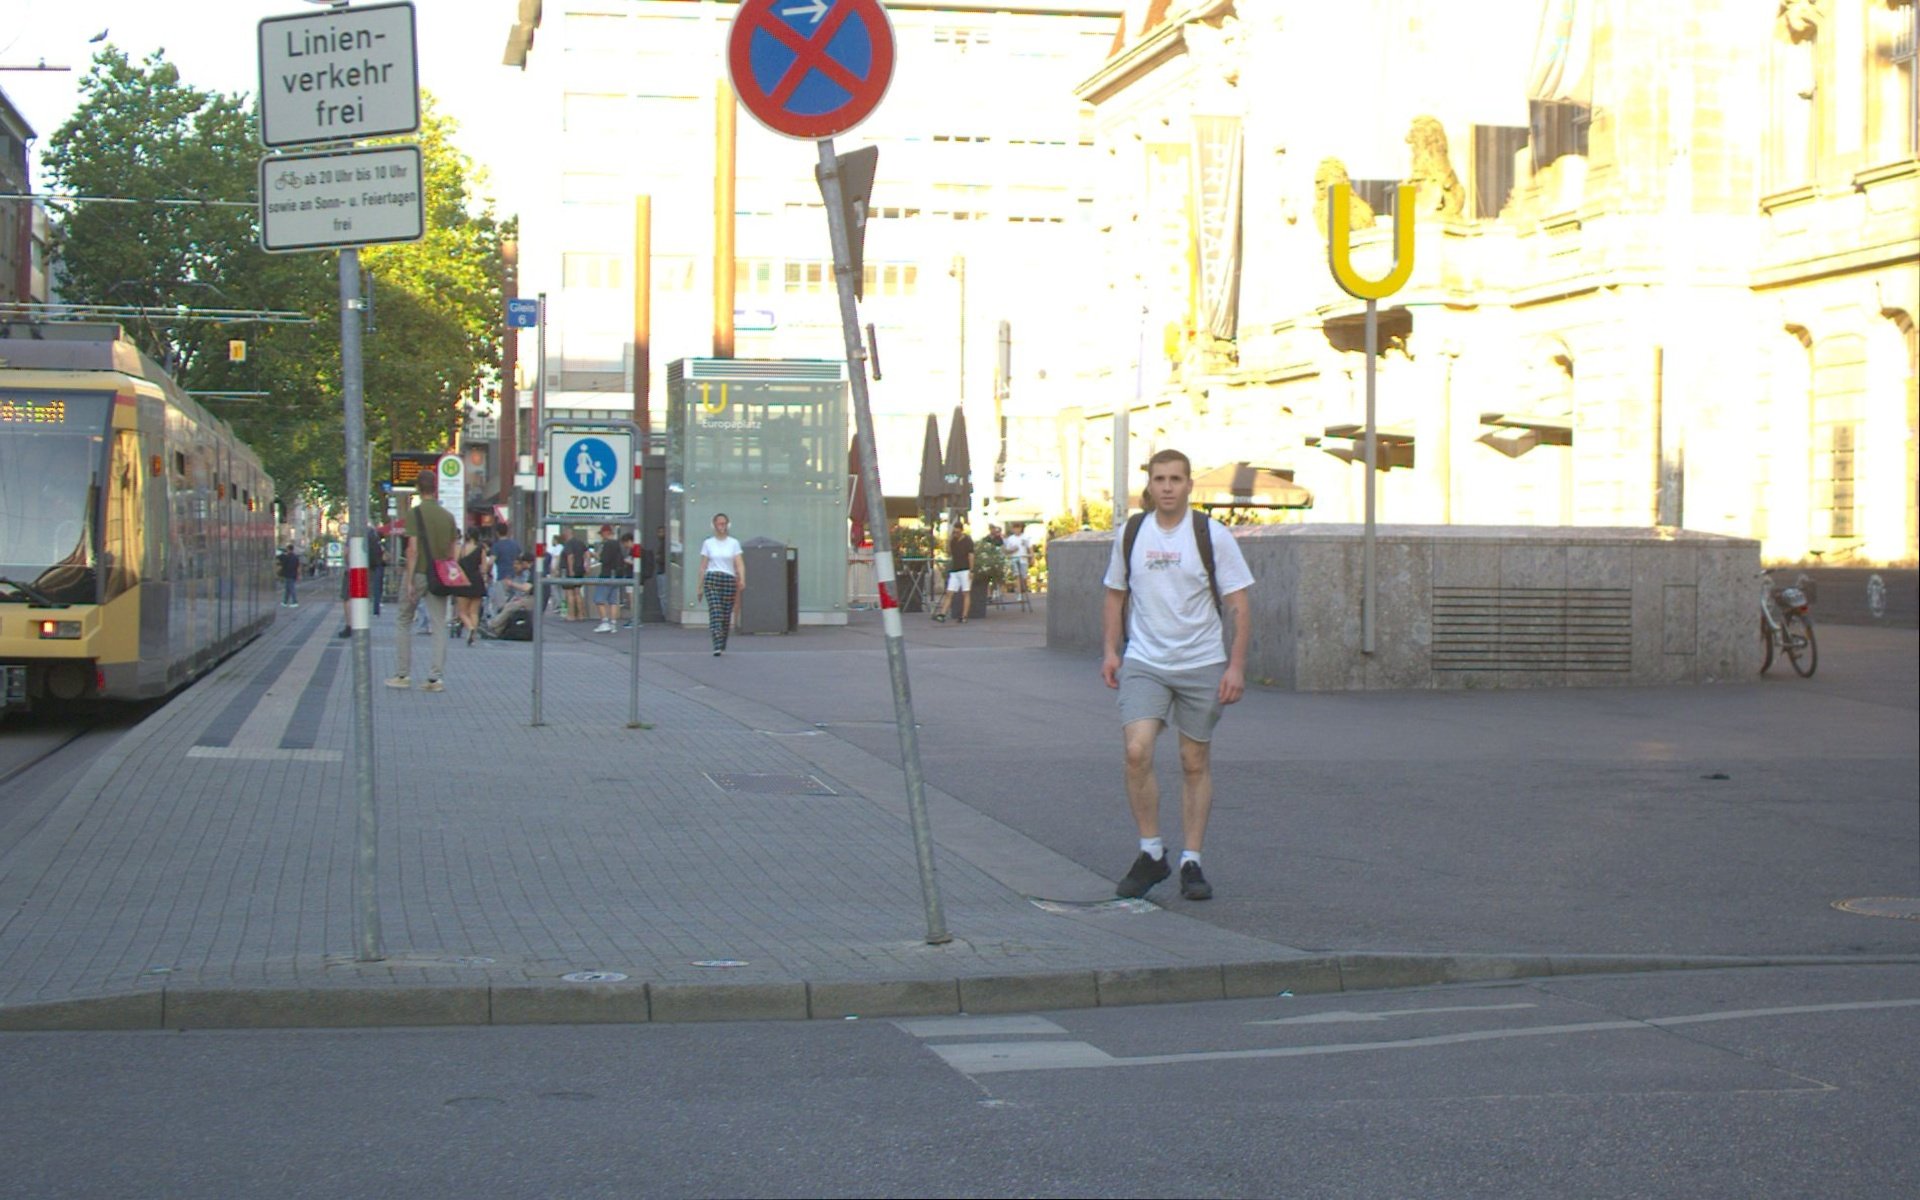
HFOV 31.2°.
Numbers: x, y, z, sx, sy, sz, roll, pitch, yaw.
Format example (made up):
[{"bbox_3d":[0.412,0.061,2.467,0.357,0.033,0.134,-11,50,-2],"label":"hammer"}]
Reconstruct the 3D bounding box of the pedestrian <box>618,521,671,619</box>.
[{"bbox_3d":[-5.425,-0.519,59.144,0.792,1.655,0.769,1,1,3],"label":"pedestrian"}]

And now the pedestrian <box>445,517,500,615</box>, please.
[{"bbox_3d":[-8.297,-0.578,58.555,0.792,1.655,0.769,1,1,3],"label":"pedestrian"}]

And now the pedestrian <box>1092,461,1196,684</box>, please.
[{"bbox_3d":[1.700,-0.255,31.674,0.770,2.007,0.917,1,0,13],"label":"pedestrian"}]

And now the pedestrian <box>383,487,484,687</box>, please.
[{"bbox_3d":[-4.605,-0.115,30.044,0.718,1.719,0.709,0,0,-22],"label":"pedestrian"}]

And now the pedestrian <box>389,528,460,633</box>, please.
[{"bbox_3d":[-8.166,-0.301,52.452,0.767,1.573,0.794,1,1,20],"label":"pedestrian"}]

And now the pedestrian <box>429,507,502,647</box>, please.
[{"bbox_3d":[-6.510,-0.301,45.233,0.733,1.817,0.820,0,1,-23],"label":"pedestrian"}]

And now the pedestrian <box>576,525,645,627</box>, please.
[{"bbox_3d":[-5.709,-0.395,56.144,0.794,1.655,0.767,1,1,40],"label":"pedestrian"}]

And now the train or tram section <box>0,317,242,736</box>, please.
[{"bbox_3d":[-8.893,-0.722,34.292,2.799,3.308,14.512,0,1,-10],"label":"train or tram section"}]

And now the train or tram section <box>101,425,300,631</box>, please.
[{"bbox_3d":[-13.689,-1.309,62.902,2.799,3.308,14.512,0,1,-10],"label":"train or tram section"}]

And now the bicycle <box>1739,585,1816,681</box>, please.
[{"bbox_3d":[7.608,0.299,32.011,0.315,0.864,1.000,-1,1,-10],"label":"bicycle"}]

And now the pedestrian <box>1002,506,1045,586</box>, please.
[{"bbox_3d":[1.445,-1.231,78.453,0.773,1.818,0.850,0,1,-12],"label":"pedestrian"}]

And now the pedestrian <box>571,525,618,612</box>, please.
[{"bbox_3d":[-7.080,-0.615,66.636,0.792,1.655,0.769,1,1,3],"label":"pedestrian"}]

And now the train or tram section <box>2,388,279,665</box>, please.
[{"bbox_3d":[-11.285,-1.017,48.582,2.799,3.308,14.512,0,1,-10],"label":"train or tram section"}]

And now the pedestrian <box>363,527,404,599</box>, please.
[{"bbox_3d":[-13.480,-0.866,80.393,0.792,1.655,0.769,1,1,3],"label":"pedestrian"}]

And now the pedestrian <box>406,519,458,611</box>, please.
[{"bbox_3d":[-9.702,-0.645,63.187,0.792,1.655,0.769,1,1,3],"label":"pedestrian"}]

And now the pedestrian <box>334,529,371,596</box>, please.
[{"bbox_3d":[-15.153,-0.942,85.734,0.767,1.655,0.795,1,1,0],"label":"pedestrian"}]

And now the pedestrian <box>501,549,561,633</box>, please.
[{"bbox_3d":[-6.308,-0.141,50.567,0.792,1.217,0.769,1,1,-13],"label":"pedestrian"}]

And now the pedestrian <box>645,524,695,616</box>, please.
[{"bbox_3d":[-5.294,-0.546,62.824,0.792,1.655,0.769,1,1,3],"label":"pedestrian"}]

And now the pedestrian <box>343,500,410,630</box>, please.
[{"bbox_3d":[-8.256,-0.490,48.628,0.733,1.817,0.820,0,1,-23],"label":"pedestrian"}]

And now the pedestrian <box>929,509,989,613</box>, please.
[{"bbox_3d":[-0.019,-0.690,60.630,0.847,1.817,0.776,0,1,-18],"label":"pedestrian"}]

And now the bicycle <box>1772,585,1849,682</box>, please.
[{"bbox_3d":[7.930,0.306,32.064,0.315,0.864,1.000,-1,1,-10],"label":"bicycle"}]

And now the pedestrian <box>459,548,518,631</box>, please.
[{"bbox_3d":[-7.033,-0.163,51.268,0.792,1.217,0.769,1,1,-13],"label":"pedestrian"}]

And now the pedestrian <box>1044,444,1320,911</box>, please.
[{"bbox_3d":[0.906,0.308,14.324,1.013,1.857,1.043,1,0,-2],"label":"pedestrian"}]

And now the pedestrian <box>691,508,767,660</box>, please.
[{"bbox_3d":[-2.819,-0.199,41.929,0.773,1.817,0.940,-1,1,-12],"label":"pedestrian"}]
